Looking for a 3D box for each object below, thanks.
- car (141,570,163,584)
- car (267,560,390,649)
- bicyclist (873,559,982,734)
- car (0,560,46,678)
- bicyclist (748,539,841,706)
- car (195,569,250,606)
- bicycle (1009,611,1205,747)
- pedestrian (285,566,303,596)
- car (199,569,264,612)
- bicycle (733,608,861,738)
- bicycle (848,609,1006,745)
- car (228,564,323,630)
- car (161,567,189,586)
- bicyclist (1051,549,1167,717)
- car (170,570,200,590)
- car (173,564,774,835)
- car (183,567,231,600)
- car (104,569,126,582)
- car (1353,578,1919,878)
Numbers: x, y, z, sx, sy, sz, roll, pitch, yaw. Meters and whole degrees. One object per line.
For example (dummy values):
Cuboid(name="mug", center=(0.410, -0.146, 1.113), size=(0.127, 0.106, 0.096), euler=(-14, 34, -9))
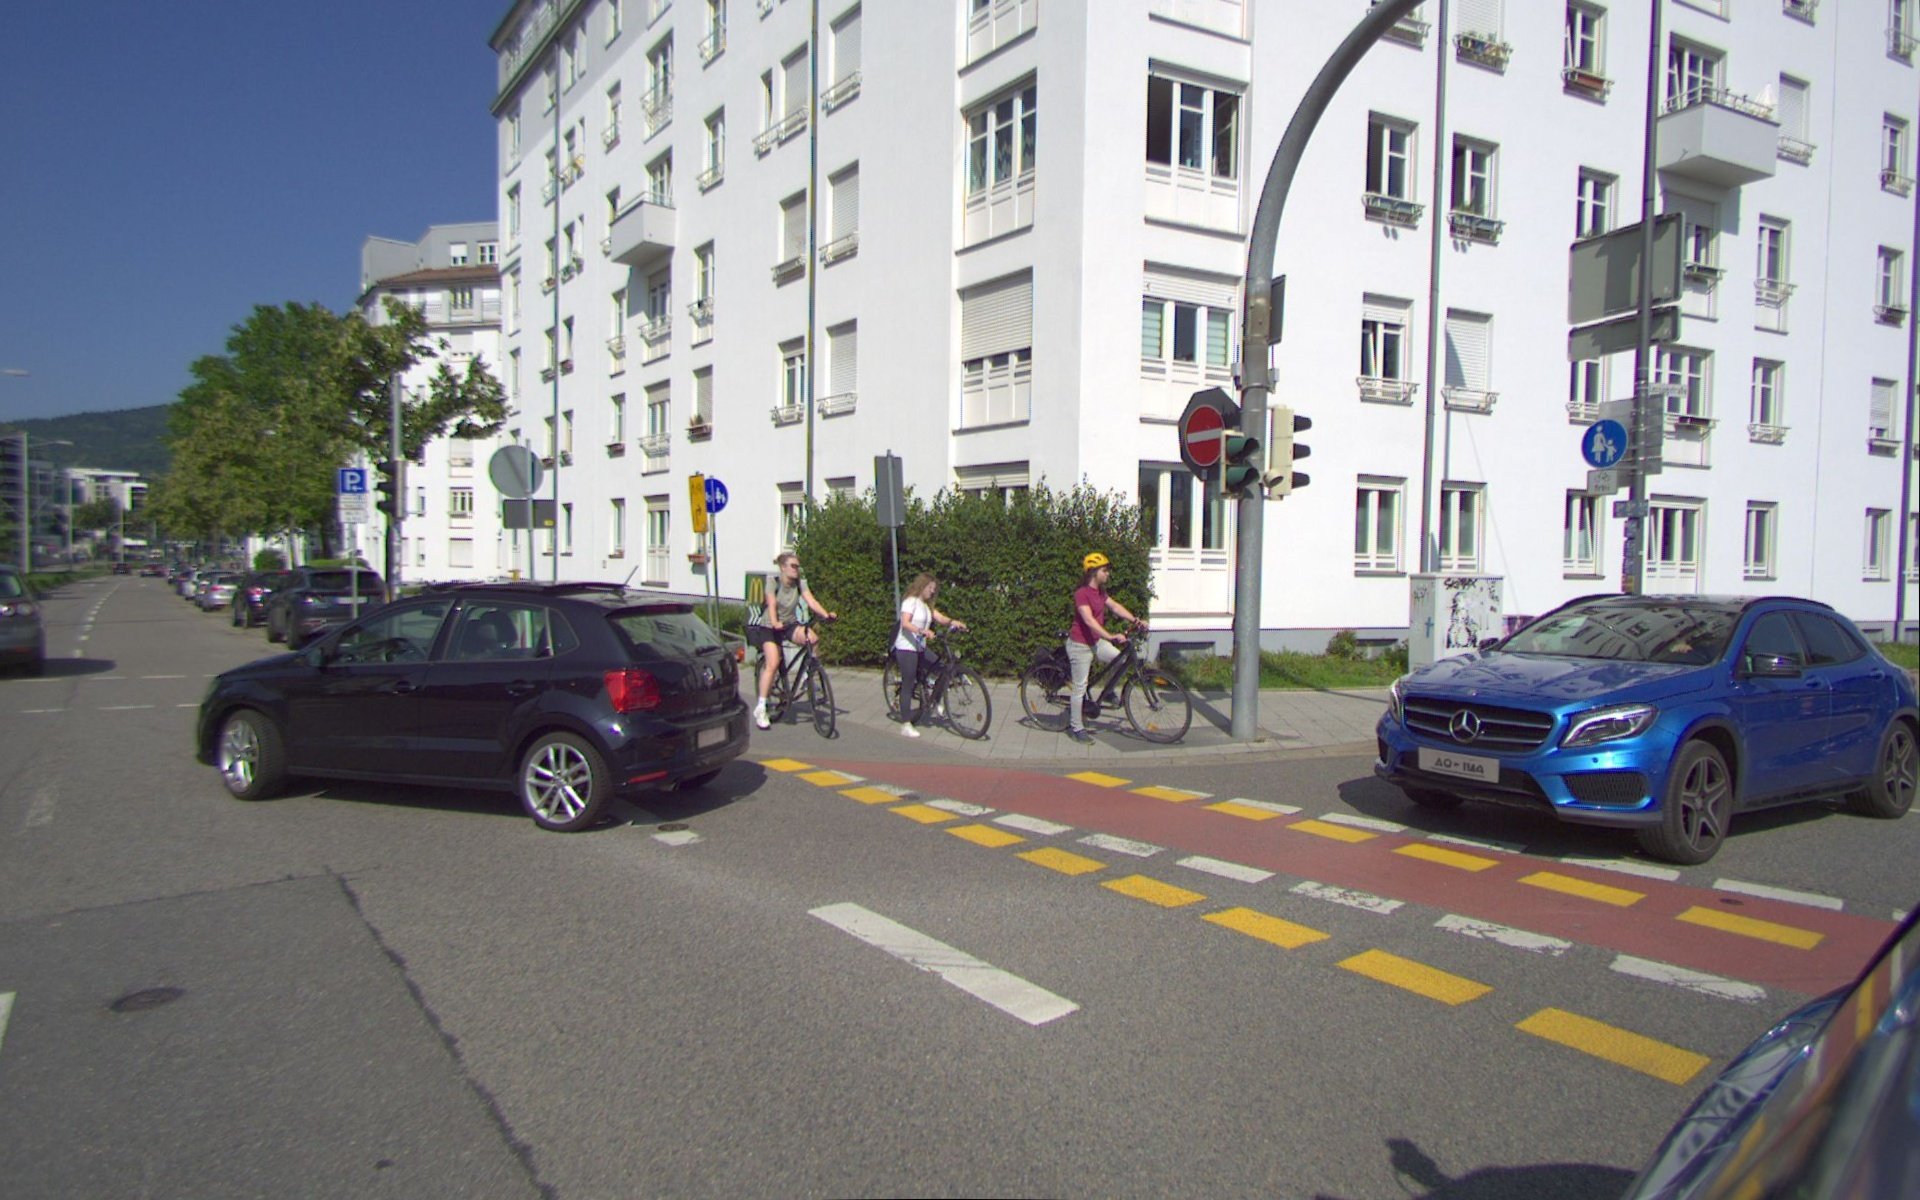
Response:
Cuboid(name="car", center=(-89.419, -2.607, 112.022), size=(1.766, 1.503, 3.739), euler=(-1, 2, -37))
Cuboid(name="car", center=(-13.103, 0.019, 20.907), size=(1.709, 1.657, 3.737), euler=(-2, 2, -39))
Cuboid(name="bicyclist", center=(-0.328, 0.410, 9.934), size=(0.613, 1.598, 0.917), euler=(-4, 4, -38))
Cuboid(name="car", center=(-14.234, 0.208, 14.507), size=(1.668, 1.575, 3.649), euler=(0, 1, -43))
Cuboid(name="bicyclist", center=(-1.690, 0.200, 10.280), size=(0.612, 1.609, 0.918), euler=(-1, 1, -33))
Cuboid(name="car", center=(-31.704, -0.584, 43.481), size=(1.709, 1.503, 3.737), euler=(-2, 2, -39))
Cuboid(name="bicycle", center=(1.354, 0.692, 9.575), size=(1.806, 1.113, 0.596), euler=(1, 2, 40))
Cuboid(name="pedestrian", center=(-37.888, -1.090, 57.594), size=(0.842, 1.686, 0.910), euler=(0, 1, -34))
Cuboid(name="car", center=(-26.762, -0.396, 37.135), size=(1.709, 1.503, 3.737), euler=(-2, 2, -39))
Cuboid(name="bicycle", center=(-1.699, 0.683, 10.310), size=(0.607, 1.113, 1.787), euler=(-1, 3, -34))
Cuboid(name="bicycle", center=(-0.367, 0.706, 10.013), size=(0.617, 1.112, 1.785), euler=(-4, 4, -37))
Cuboid(name="car", center=(-18.652, -0.147, 27.516), size=(1.710, 1.657, 3.735), euler=(-2, 2, -41))
Cuboid(name="car", center=(-64.754, -1.983, 83.449), size=(1.709, 1.503, 3.737), euler=(-2, 2, -39))
Cuboid(name="bicyclist", center=(1.401, 0.279, 9.522), size=(0.914, 1.496, 0.589), euler=(1, 2, 40))
Cuboid(name="car", center=(-59.441, -1.538, 77.601), size=(1.709, 1.503, 3.737), euler=(-2, 2, -39))
Cuboid(name="car", center=(-3.295, 0.548, 7.046), size=(3.609, 1.511, 1.587), euler=(1, 1, 15))
Cuboid(name="car", center=(-36.755, -0.835, 49.346), size=(1.709, 1.503, 3.737), euler=(-2, 2, -39))
Cuboid(name="car", center=(-99.214, -2.863, 118.797), size=(1.766, 1.503, 3.739), euler=(-1, 2, -37))
Cuboid(name="car", center=(4.914, 0.650, 6.889), size=(4.458, 1.499, 1.679), euler=(1, 1, -29))
